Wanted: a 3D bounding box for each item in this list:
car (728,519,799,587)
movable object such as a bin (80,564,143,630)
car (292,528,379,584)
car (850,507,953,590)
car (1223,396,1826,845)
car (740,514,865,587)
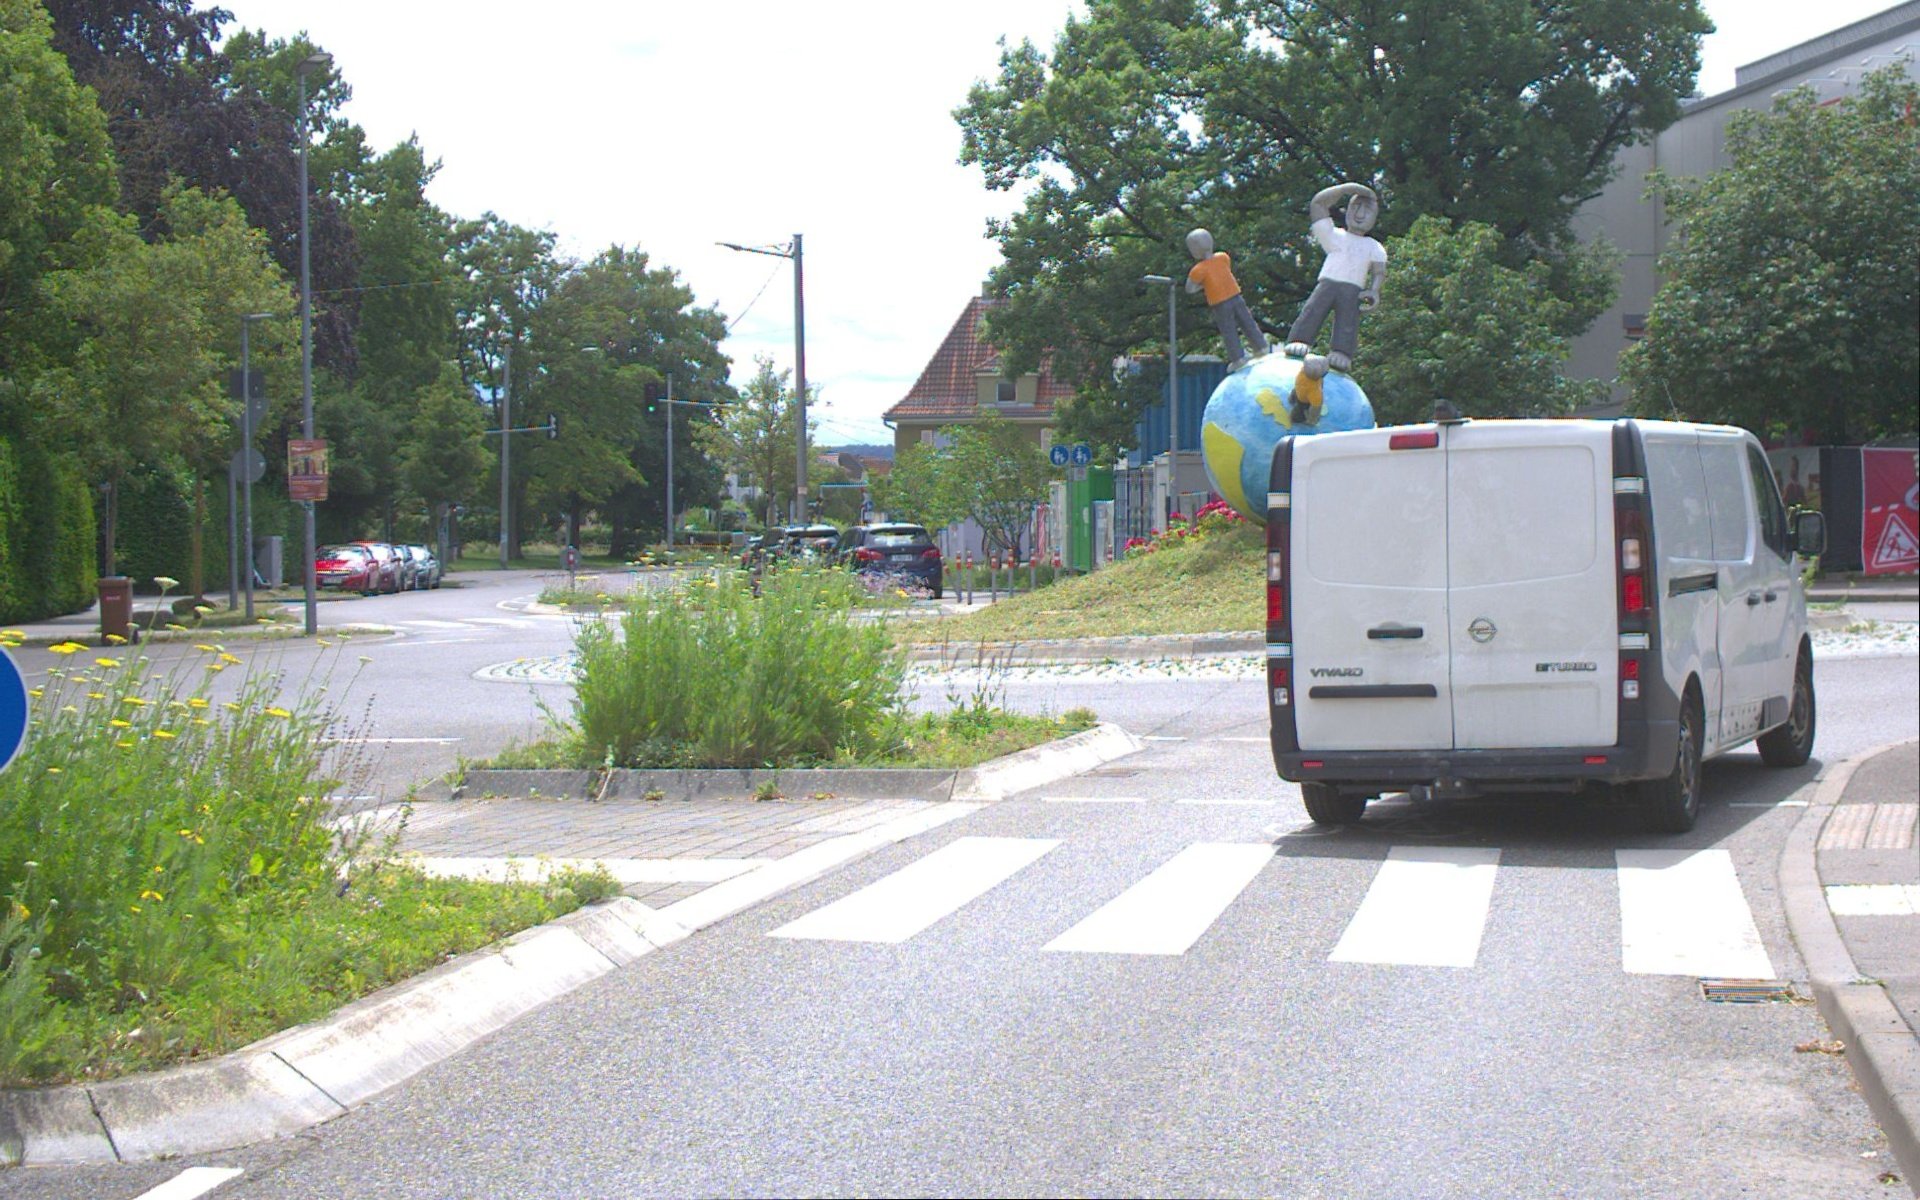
[{"bbox_3d":[-5.413,-1.317,94.494,1.897,1.738,3.926,0,2,-3],"label":"car"},{"bbox_3d":[-11.528,-0.045,46.707,0.630,0.860,0.640,-2,2,6],"label":"movable object such as a bin"},{"bbox_3d":[-17.040,-1.221,93.678,2.062,1.381,4.049,-1,3,-14],"label":"car"},{"bbox_3d":[-1.199,-1.052,68.656,1.932,1.532,3.926,0,2,-3],"label":"car"},{"bbox_3d":[3.086,0.014,17.760,2.037,1.938,4.988,2,2,21],"label":"car"},{"bbox_3d":[-3.528,-1.119,76.374,1.919,1.495,3.926,-1,3,-16],"label":"car"}]
